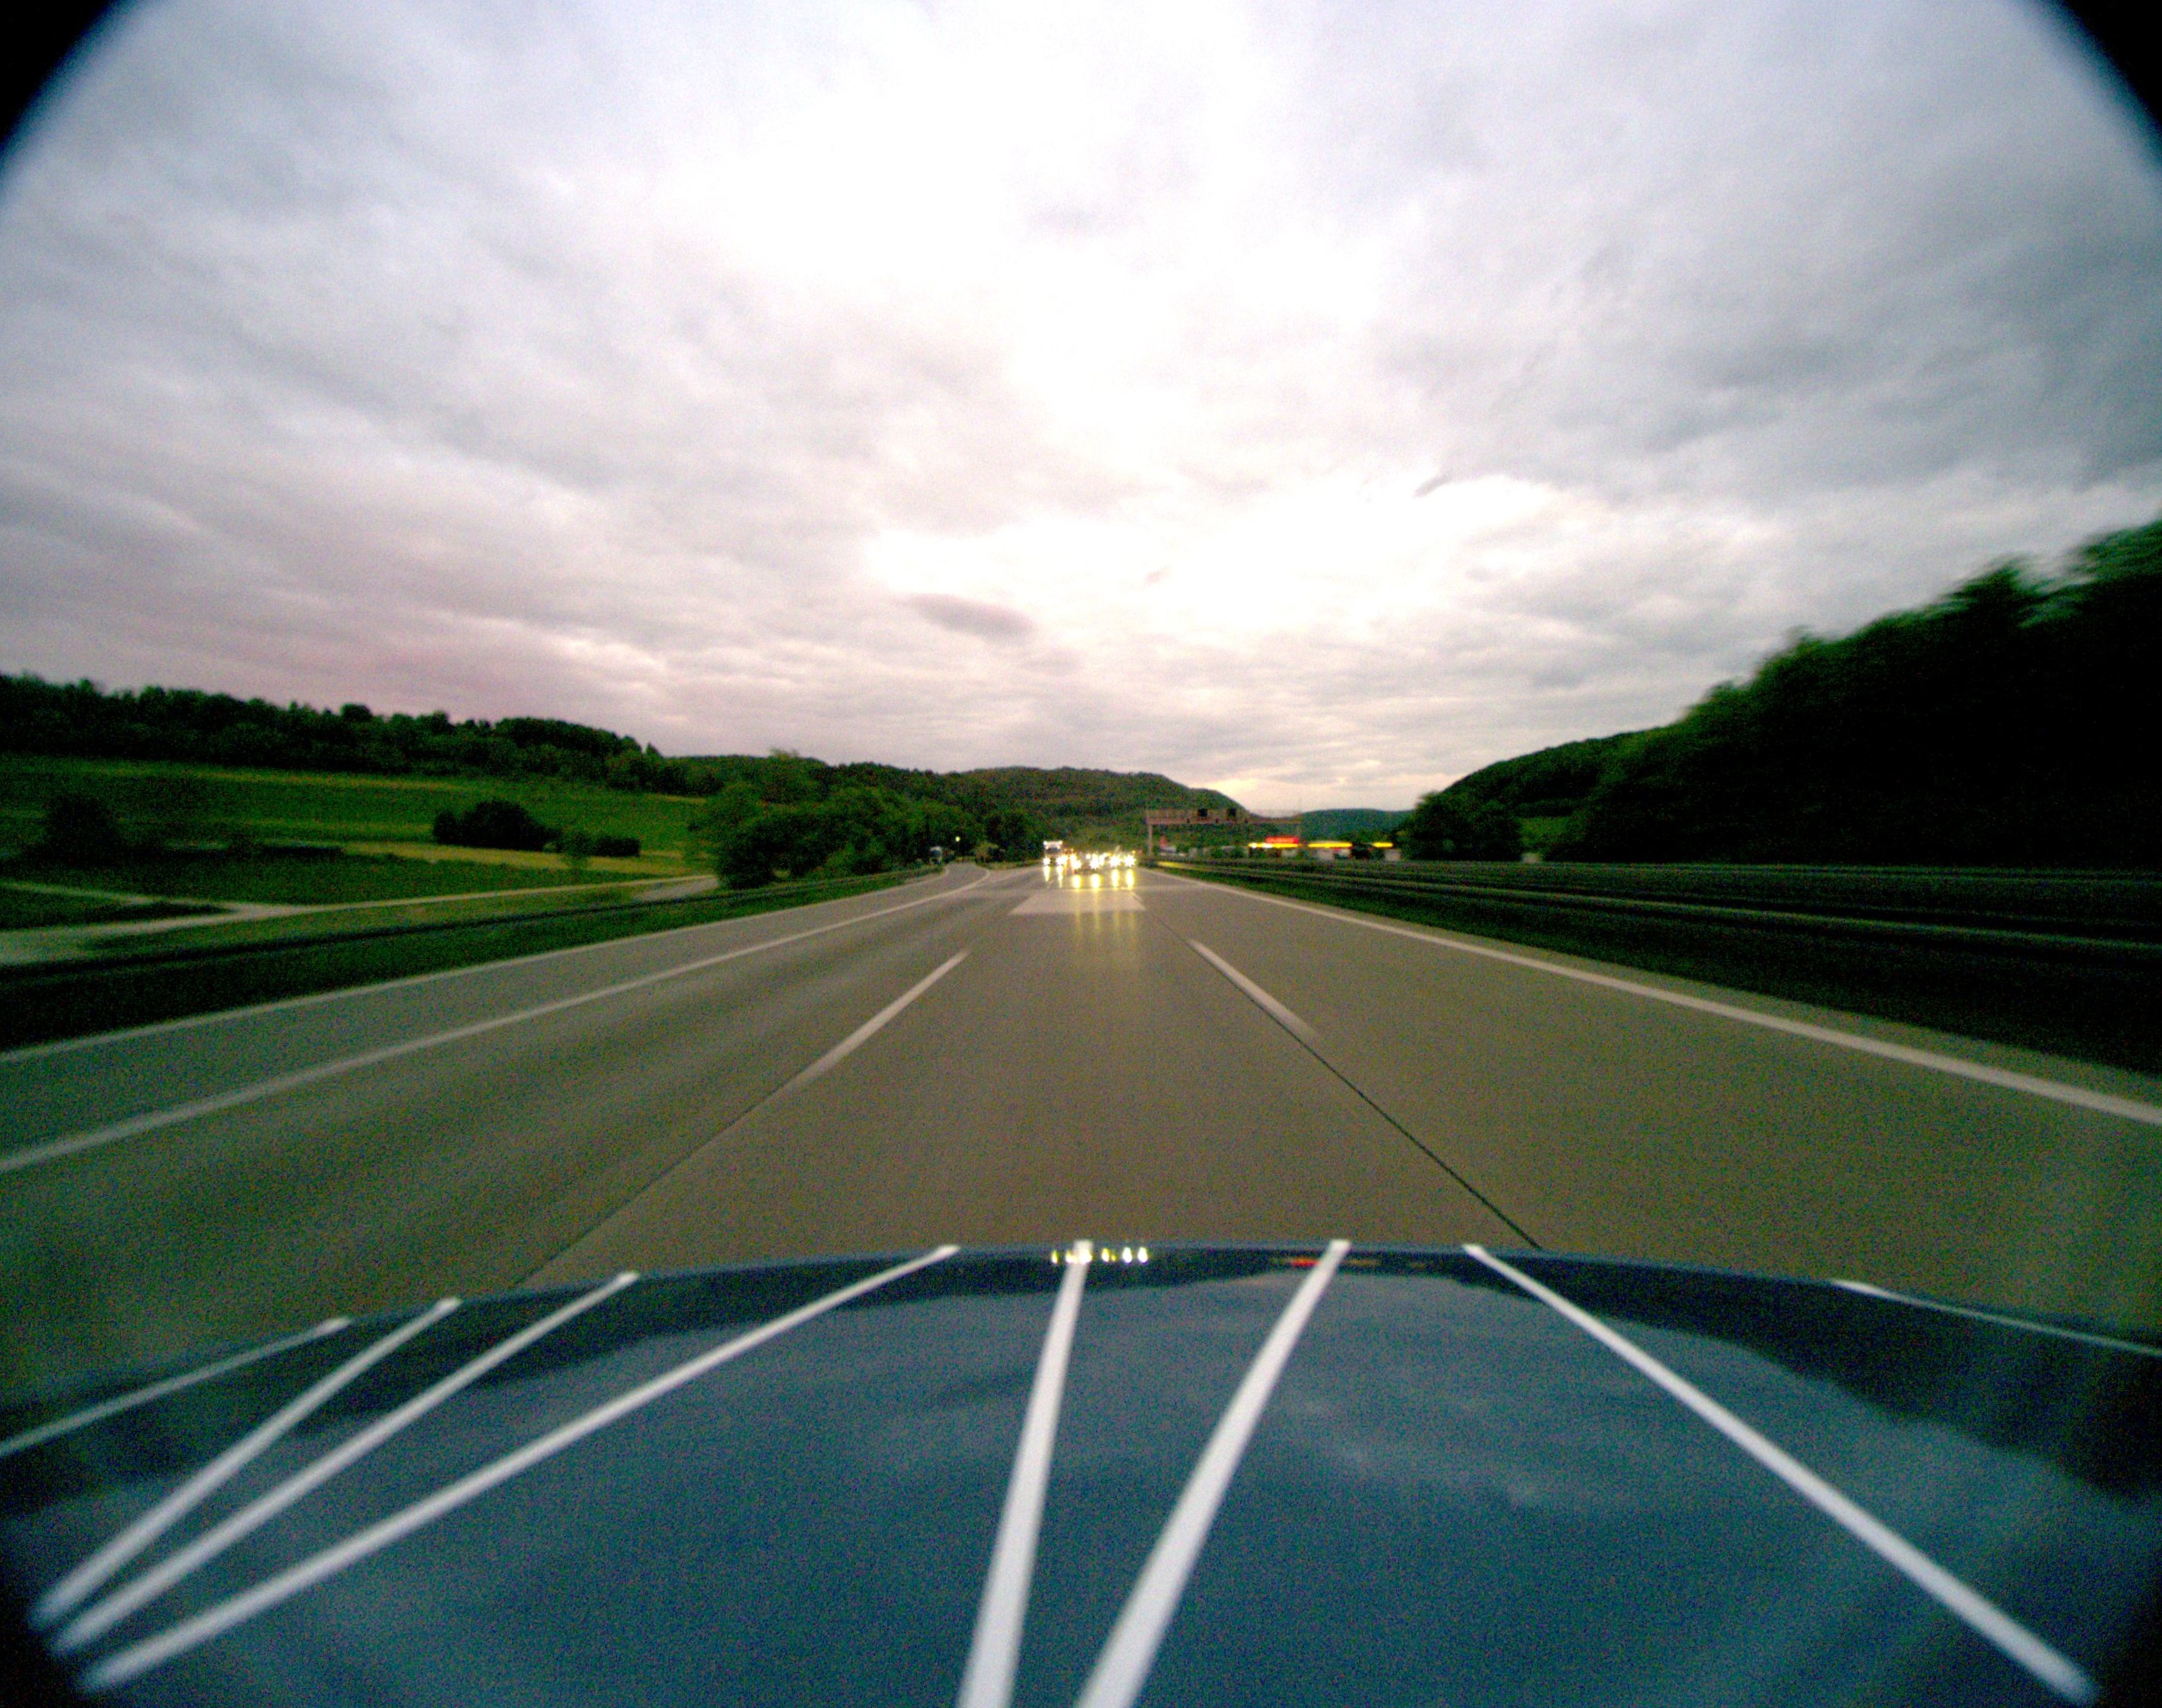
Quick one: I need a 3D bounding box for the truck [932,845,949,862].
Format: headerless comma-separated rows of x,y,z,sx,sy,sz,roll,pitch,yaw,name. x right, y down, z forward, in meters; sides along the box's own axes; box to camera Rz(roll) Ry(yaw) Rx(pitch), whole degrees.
-33.254,-0.133,180.019,2.846,3.893,6.383,0,0,-2,truck

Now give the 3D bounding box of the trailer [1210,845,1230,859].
35.176,-0.557,192.970,2.880,3.404,13.851,-1,0,1,trailer

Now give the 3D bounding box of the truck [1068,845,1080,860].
-1.960,-0.451,219.608,3.120,3.850,14.162,2,0,0,truck

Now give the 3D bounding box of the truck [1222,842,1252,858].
34.448,-0.757,168.672,2.881,3.404,13.785,-1,0,-4,truck

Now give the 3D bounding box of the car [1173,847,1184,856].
19.307,-0.507,149.982,1.733,1.577,4.646,-1,0,3,car

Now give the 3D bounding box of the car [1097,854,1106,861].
4.758,0.718,173.711,1.898,1.503,4.000,-1,0,0,car

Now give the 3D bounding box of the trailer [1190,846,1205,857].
36.394,-0.689,237.584,2.880,3.404,13.226,-1,0,2,trailer

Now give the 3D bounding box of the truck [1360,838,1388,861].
49.188,-0.742,127.215,3.006,3.657,7.693,-1,0,31,truck

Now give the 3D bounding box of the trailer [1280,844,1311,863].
49.744,-0.078,176.546,3.025,4.234,15.947,-1,0,1,trailer

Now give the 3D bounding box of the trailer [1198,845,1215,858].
35.840,-0.670,218.036,2.880,3.404,13.571,-1,0,2,trailer

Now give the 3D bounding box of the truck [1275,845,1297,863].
49.840,-0.005,184.620,3.025,4.234,8.864,-1,0,1,truck

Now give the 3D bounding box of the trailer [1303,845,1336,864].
49.153,0.170,156.904,2.880,3.657,12.717,-1,0,1,trailer

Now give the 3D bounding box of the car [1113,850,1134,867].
4.408,0.486,79.786,1.894,1.650,5.639,-2,0,1,car

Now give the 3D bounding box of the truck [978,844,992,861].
-22.034,-0.330,174.591,2.847,3.893,11.982,0,0,-6,truck

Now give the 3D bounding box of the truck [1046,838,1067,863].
-3.835,-0.542,120.985,2.623,3.805,10.386,-1,0,1,truck

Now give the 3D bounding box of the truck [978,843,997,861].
-23.881,-0.551,194.388,3.785,4.204,19.518,0,0,-4,truck

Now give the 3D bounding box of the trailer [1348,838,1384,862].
45.636,-0.674,121.327,3.063,3.657,13.368,-1,0,31,trailer

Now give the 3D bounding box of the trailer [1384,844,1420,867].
61.174,0.189,144.507,3.280,4.082,14.475,0,0,35,trailer

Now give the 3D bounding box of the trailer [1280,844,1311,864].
49.665,-0.002,176.548,3.025,4.234,15.947,-1,0,1,trailer

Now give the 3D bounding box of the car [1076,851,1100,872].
0.575,0.602,64.633,1.928,1.674,4.806,0,1,-1,car
